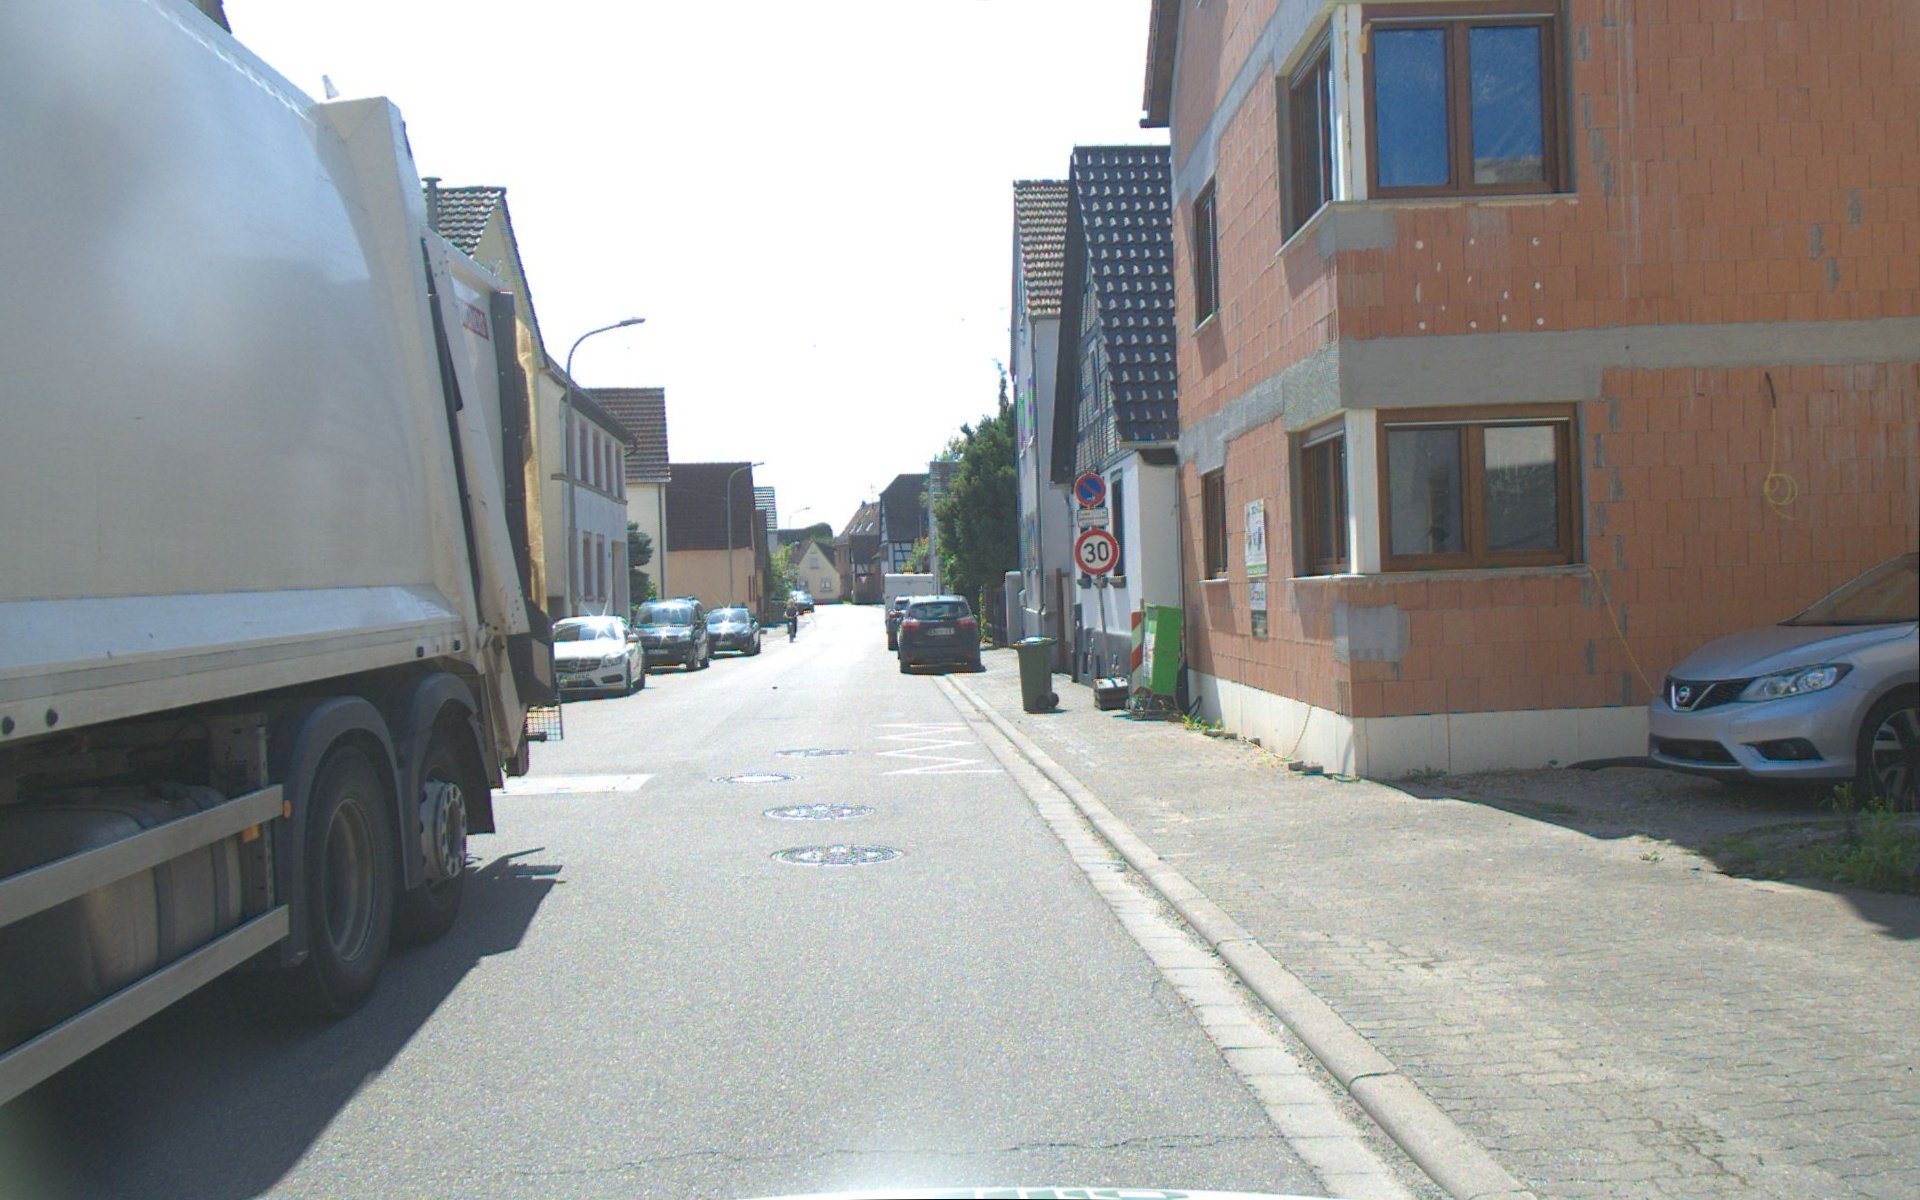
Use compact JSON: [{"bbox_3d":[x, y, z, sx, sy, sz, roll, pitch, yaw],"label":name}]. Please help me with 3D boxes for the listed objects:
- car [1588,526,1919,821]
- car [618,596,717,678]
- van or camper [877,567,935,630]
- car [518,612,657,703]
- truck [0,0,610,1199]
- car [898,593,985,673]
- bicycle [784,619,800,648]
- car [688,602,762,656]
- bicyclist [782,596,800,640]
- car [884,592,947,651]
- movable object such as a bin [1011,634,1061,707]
[{"bbox_3d":[6.259,0.290,10.182,4.013,1.533,1.867,-4,0,-8],"label":"car"},{"bbox_3d":[-7.437,0.892,42.445,1.798,1.869,4.352,-4,0,-2],"label":"car"},{"bbox_3d":[-2.586,-0.066,77.682,2.472,2.743,4.552,-3,0,-4],"label":"van or camper"},{"bbox_3d":[-6.941,1.031,31.253,1.798,1.489,4.268,-3,0,-3],"label":"car"},{"bbox_3d":[-3.464,-0.340,5.144,2.642,3.815,10.864,-4,0,-2],"label":"truck"},{"bbox_3d":[-0.473,0.694,37.260,1.762,1.587,4.629,-3,0,-2],"label":"car"},{"bbox_3d":[-7.086,1.412,69.814,0.578,1.168,1.946,-4,0,-6],"label":"bicycle"},{"bbox_3d":[-7.666,0.914,54.332,1.807,1.553,4.763,-4,0,-2],"label":"car"},{"bbox_3d":[-7.136,0.752,69.760,0.690,1.801,0.624,-3,0,-7],"label":"bicyclist"},{"bbox_3d":[-1.405,0.661,53.548,1.757,1.659,4.361,-4,1,1],"label":"car"},{"bbox_3d":[1.026,0.939,22.195,0.526,0.929,0.552,-3,0,14],"label":"movable object such as a bin"}]
